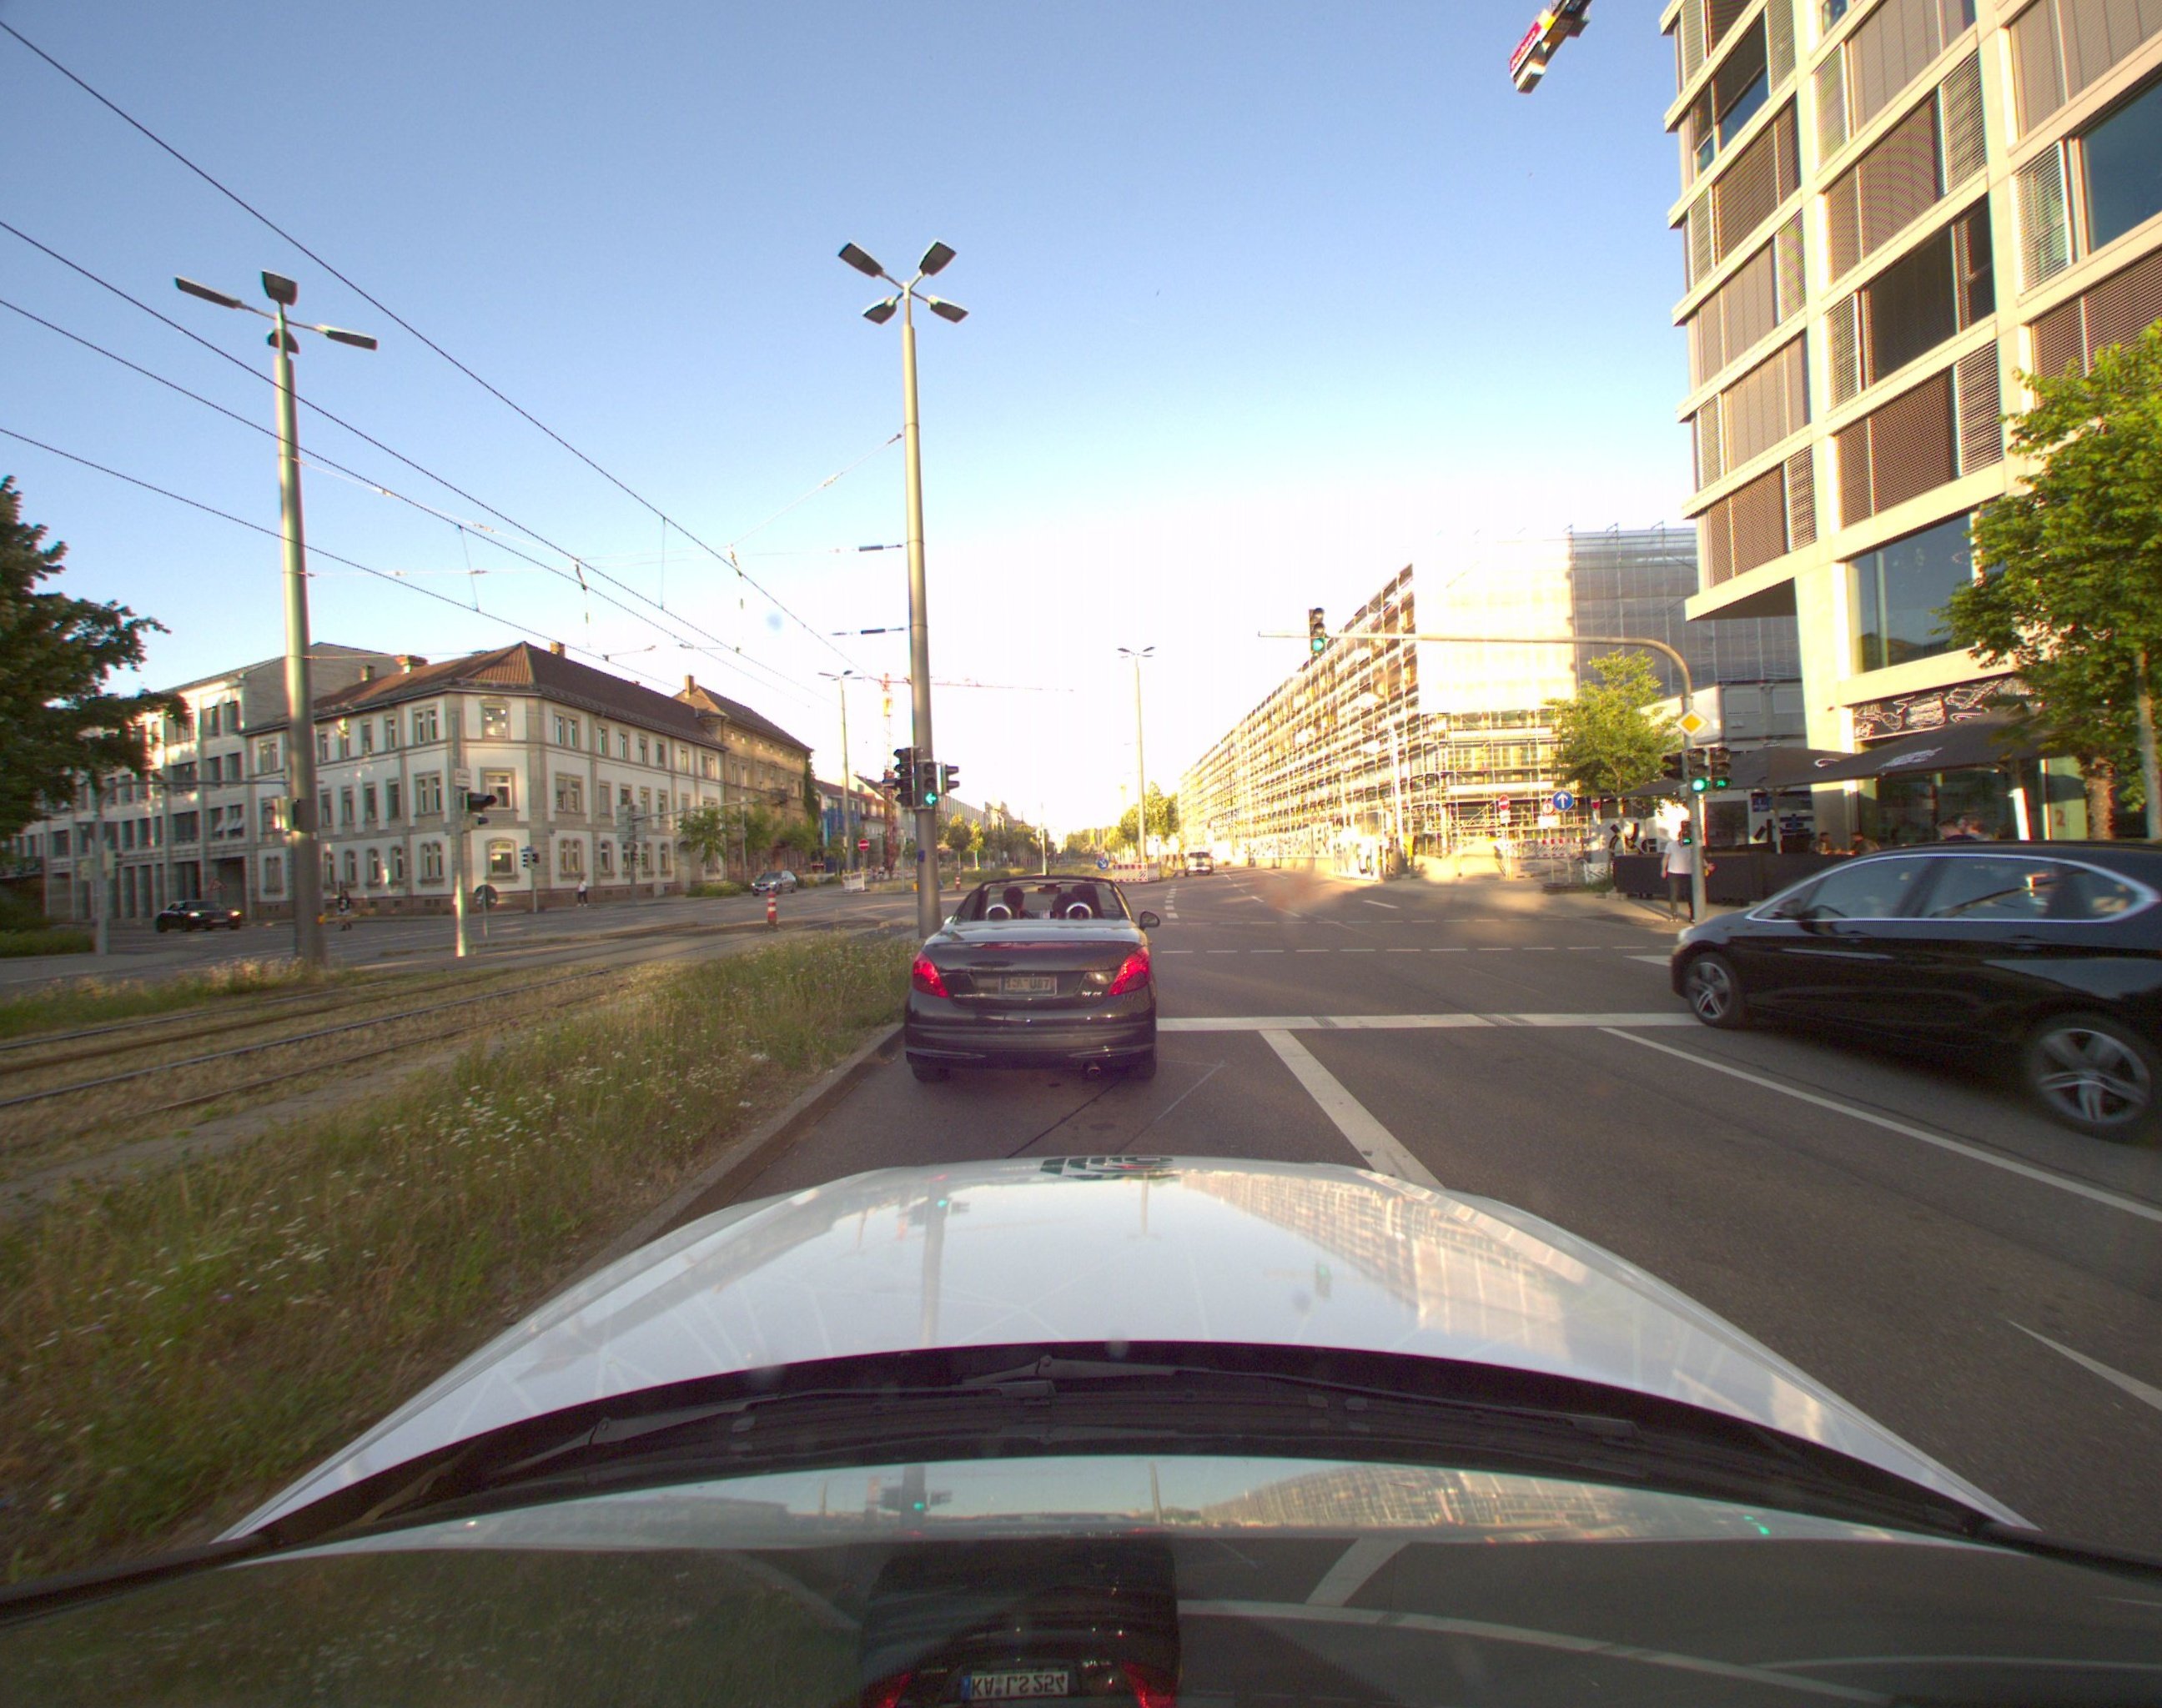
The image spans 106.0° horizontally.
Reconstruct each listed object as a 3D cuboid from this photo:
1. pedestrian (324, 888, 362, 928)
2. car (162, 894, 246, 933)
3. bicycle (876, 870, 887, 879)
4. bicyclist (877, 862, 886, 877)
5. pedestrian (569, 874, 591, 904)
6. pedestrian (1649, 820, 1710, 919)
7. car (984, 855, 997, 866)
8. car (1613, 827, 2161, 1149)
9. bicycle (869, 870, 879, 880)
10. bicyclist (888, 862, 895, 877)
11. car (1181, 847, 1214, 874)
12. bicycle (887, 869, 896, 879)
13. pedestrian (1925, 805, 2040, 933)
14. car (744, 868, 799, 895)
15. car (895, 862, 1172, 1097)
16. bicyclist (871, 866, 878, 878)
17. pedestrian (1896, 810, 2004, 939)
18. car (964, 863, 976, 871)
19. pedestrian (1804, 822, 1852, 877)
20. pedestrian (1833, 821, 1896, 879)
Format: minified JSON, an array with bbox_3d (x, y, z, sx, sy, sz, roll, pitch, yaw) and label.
[{"bbox_3d":[-28.462,2.062,31.410,0.601,1.458,0.935,0,0,-1],"label":"pedestrian"},{"bbox_3d":[-40.710,2.733,37.785,3.949,1.555,1.801,0,0,30],"label":"car"},{"bbox_3d":[-21.336,2.178,87.167,0.769,0.945,1.640,0,0,2],"label":"bicycle"},{"bbox_3d":[-21.338,1.638,87.150,0.769,1.571,0.793,0,0,1],"label":"bicyclist"},{"bbox_3d":[-28.654,1.986,46.615,0.697,1.715,0.816,-1,0,14],"label":"pedestrian"},{"bbox_3d":[11.510,0.289,15.694,0.761,1.847,0.682,-3,0,26],"label":"pedestrian"},{"bbox_3d":[-16.850,1.157,151.908,1.651,1.964,4.268,0,0,2],"label":"car"},{"bbox_3d":[6.099,0.615,5.710,1.813,1.518,4.795,-1,0,3],"label":"car"},{"bbox_3d":[-21.338,2.119,84.066,0.587,0.989,1.557,0,0,2],"label":"bicycle"},{"bbox_3d":[-20.336,1.633,87.290,0.587,1.569,0.711,0,0,1],"label":"bicyclist"},{"bbox_3d":[7.692,0.383,54.195,1.826,1.672,4.287,-1,0,4],"label":"car"},{"bbox_3d":[-20.334,2.122,87.288,0.587,0.975,1.557,0,0,2],"label":"bicycle"},{"bbox_3d":[12.914,0.209,11.693,0.683,1.734,0.761,-5,0,0],"label":"pedestrian"},{"bbox_3d":[-21.207,1.856,55.976,1.986,1.580,4.125,-4,0,1],"label":"car"},{"bbox_3d":[-0.242,0.788,6.965,1.668,1.352,4.001,-1,0,1],"label":"car"},{"bbox_3d":[-21.338,1.847,84.068,0.587,1.266,0.460,0,0,1],"label":"bicyclist"},{"bbox_3d":[12.165,0.274,11.420,0.651,1.702,0.689,-4,0,0],"label":"pedestrian"},{"bbox_3d":[-20.674,2.357,151.968,1.651,1.431,3.897,0,0,2],"label":"car"},{"bbox_3d":[18.862,-0.107,20.582,0.608,1.319,0.624,-5,0,18],"label":"pedestrian"},{"bbox_3d":[18.888,-0.103,19.654,0.740,1.319,0.717,-5,0,13],"label":"pedestrian"}]
